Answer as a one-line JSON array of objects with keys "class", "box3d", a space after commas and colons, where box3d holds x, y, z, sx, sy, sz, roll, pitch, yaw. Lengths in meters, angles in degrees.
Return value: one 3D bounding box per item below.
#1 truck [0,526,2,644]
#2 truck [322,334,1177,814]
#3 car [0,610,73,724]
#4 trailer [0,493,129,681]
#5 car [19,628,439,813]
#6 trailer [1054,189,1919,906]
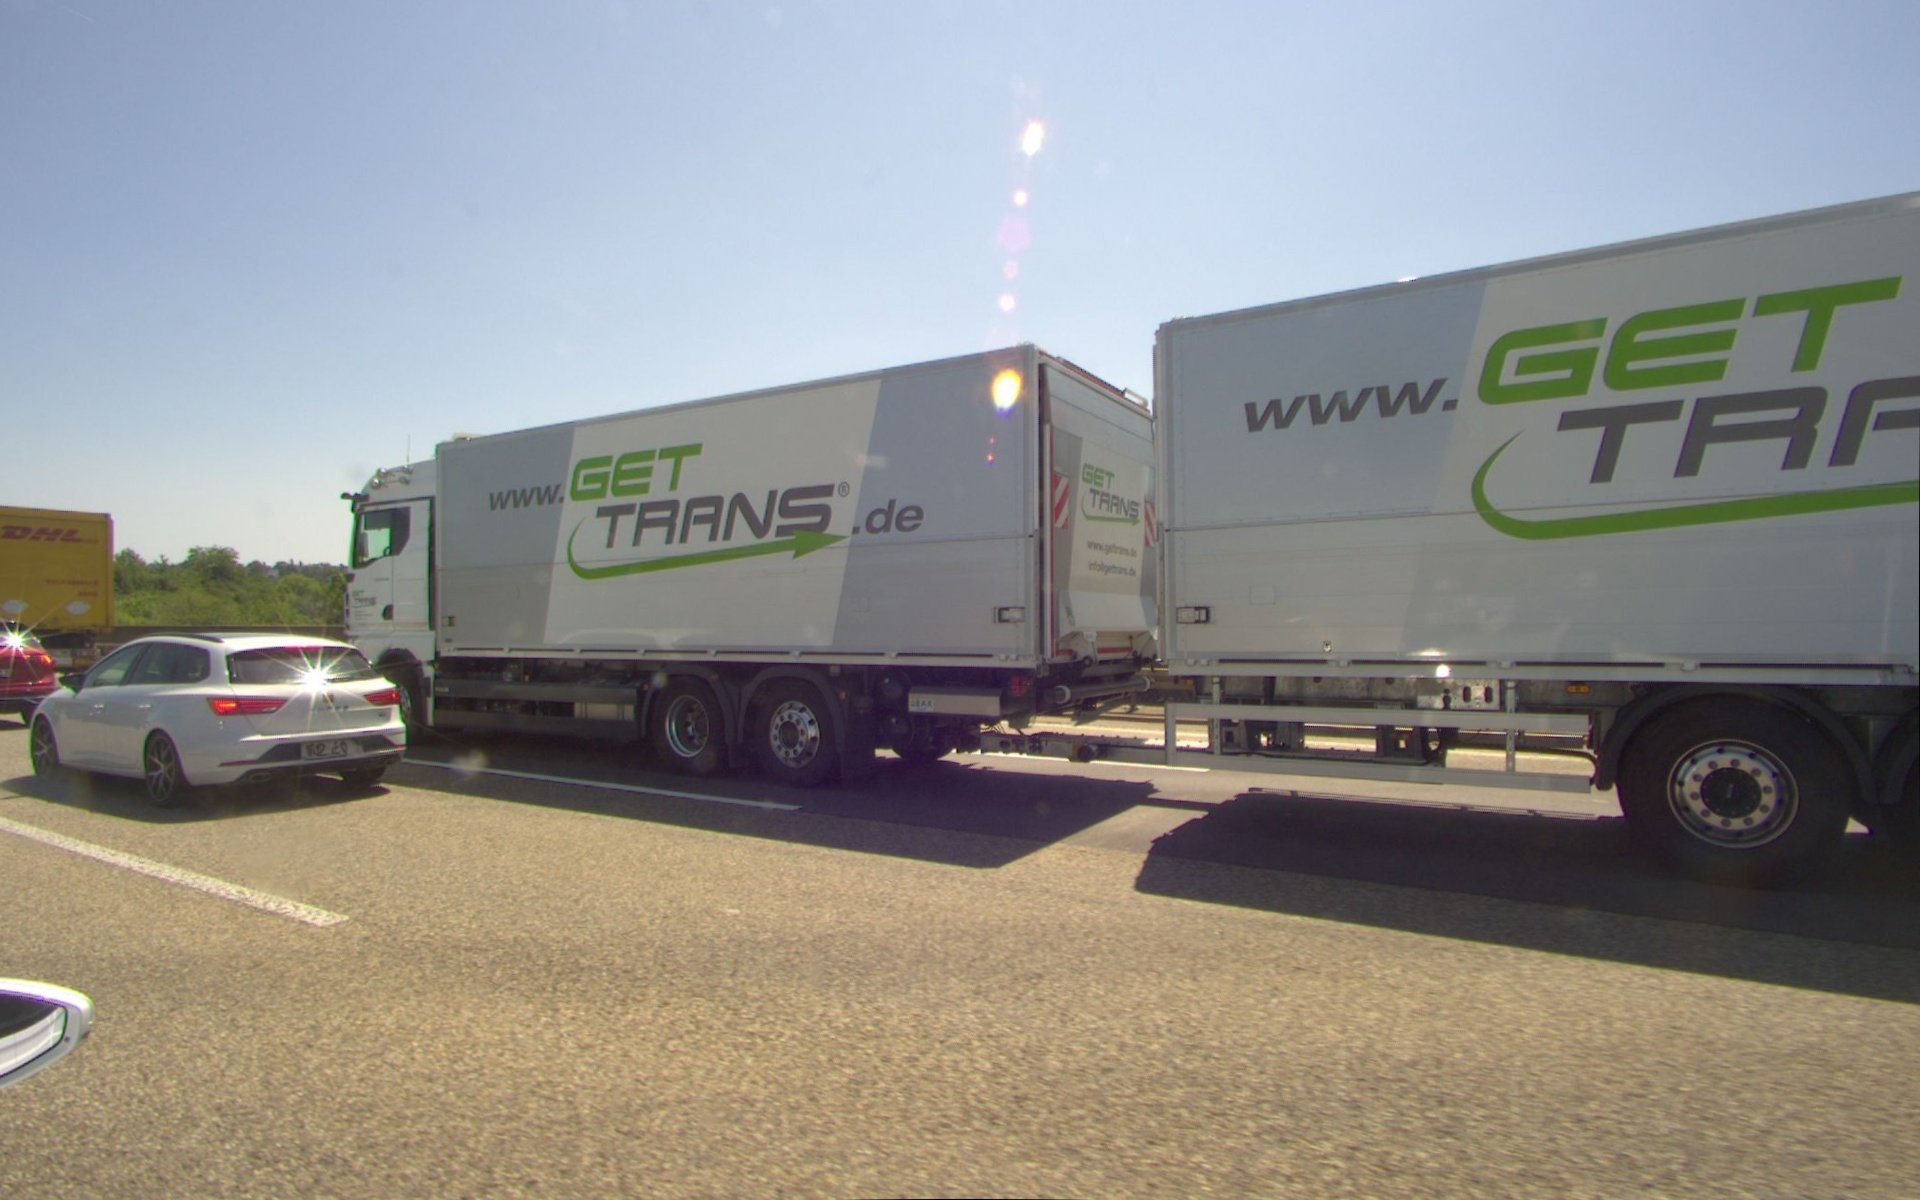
[{"class": "truck", "box3d": [-32.206, 0.024, 29.903, 10.187, 4.106, 2.718, -1, -2, 32]}, {"class": "truck", "box3d": [-3.085, -0.127, 11.606, 10.611, 3.649, 2.847, 0, -1, 31]}, {"class": "car", "box3d": [-15.461, 0.976, 15.286, 3.942, 1.629, 1.848, -1, -1, 32]}, {"class": "trailer", "box3d": [-24.135, -0.163, 24.878, 8.802, 4.074, 2.697, -1, -2, 32]}, {"class": "car", "box3d": [-7.011, 0.976, 9.514, 4.126, 1.405, 1.779, -1, -1, 31]}, {"class": "trailer", "box3d": [4.930, -0.222, 6.708, 8.170, 3.640, 2.840, -1, -1, 31]}]
